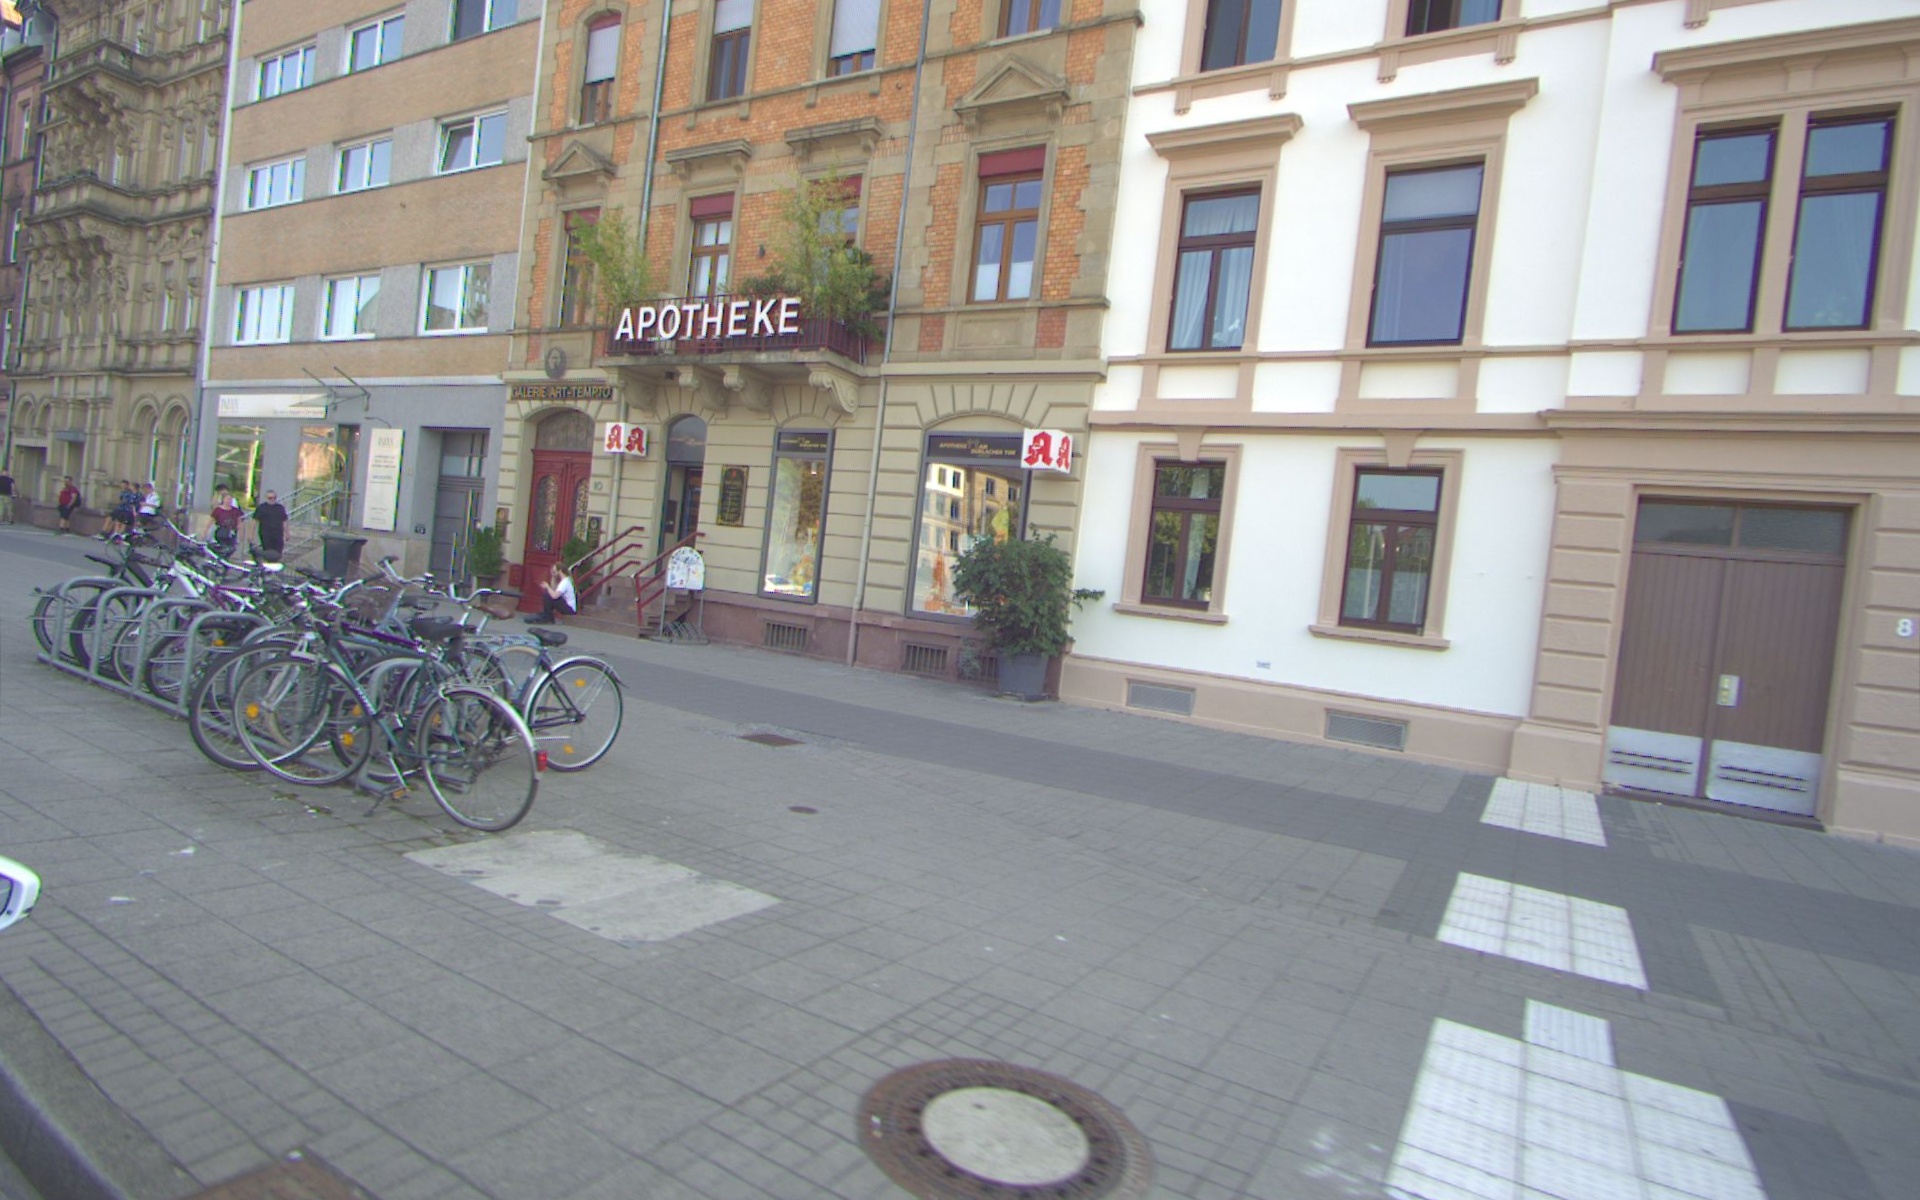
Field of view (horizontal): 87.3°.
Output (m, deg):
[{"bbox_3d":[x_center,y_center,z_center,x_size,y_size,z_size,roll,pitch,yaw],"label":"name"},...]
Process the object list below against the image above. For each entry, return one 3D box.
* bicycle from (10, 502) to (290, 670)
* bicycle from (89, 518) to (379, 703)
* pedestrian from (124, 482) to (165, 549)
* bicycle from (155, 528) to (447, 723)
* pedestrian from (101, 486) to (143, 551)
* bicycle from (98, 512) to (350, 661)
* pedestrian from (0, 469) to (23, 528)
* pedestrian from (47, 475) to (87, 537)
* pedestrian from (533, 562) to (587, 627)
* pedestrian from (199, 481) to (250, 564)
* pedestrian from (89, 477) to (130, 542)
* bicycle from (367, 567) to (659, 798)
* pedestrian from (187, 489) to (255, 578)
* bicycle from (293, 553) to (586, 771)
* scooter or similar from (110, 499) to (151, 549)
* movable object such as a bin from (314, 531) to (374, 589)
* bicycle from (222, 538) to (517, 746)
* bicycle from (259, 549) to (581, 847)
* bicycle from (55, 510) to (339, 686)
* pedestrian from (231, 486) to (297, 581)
[{"bbox_3d":[-6.263,-0.064,7.888,0.378,1.163,1.636,7,1,26],"label":"bicycle"},{"bbox_3d":[-5.135,0.102,7.242,0.378,1.163,1.636,7,1,26],"label":"bicycle"},{"bbox_3d":[-22.423,-2.323,27.673,0.502,1.753,0.604,7,2,27],"label":"pedestrian"},{"bbox_3d":[-4.432,0.191,6.907,0.378,1.163,1.636,7,1,26],"label":"bicycle"},{"bbox_3d":[-23.394,-2.268,28.089,0.577,1.713,0.604,7,2,28],"label":"pedestrian"},{"bbox_3d":[-6.465,-0.079,8.919,0.592,1.163,1.634,7,1,33],"label":"bicycle"},{"bbox_3d":[-29.949,-3.195,31.497,0.679,1.741,0.630,7,2,31],"label":"pedestrian"},{"bbox_3d":[-25.801,-2.723,29.068,0.577,1.676,0.604,7,2,28],"label":"pedestrian"},{"bbox_3d":[-6.728,-0.090,16.919,0.608,0.994,0.629,5,1,-39],"label":"pedestrian"},{"bbox_3d":[-17.659,-1.853,24.144,0.729,1.855,0.604,7,2,28],"label":"pedestrian"},{"bbox_3d":[-23.958,-2.544,28.332,0.577,1.713,0.604,7,2,28],"label":"pedestrian"},{"bbox_3d":[-2.566,0.463,5.980,0.378,1.163,1.636,7,1,26],"label":"bicycle"},{"bbox_3d":[-14.711,-1.317,20.033,0.842,1.631,0.720,7,1,32],"label":"pedestrian"},{"bbox_3d":[-3.162,0.375,6.286,0.378,1.163,1.636,7,1,26],"label":"bicycle"},{"bbox_3d":[-21.804,-1.999,26.438,1.132,1.178,0.360,7,2,28],"label":"scooter or similar"},{"bbox_3d":[-12.898,-0.826,21.080,0.657,1.094,0.739,7,1,14],"label":"movable object such as a bin"},{"bbox_3d":[-3.752,0.278,6.549,0.378,1.163,1.636,7,1,26],"label":"bicycle"},{"bbox_3d":[-2.659,0.420,4.899,1.626,1.163,0.408,7,1,25],"label":"bicycle"},{"bbox_3d":[-5.663,0.022,7.584,0.378,1.163,1.636,7,1,26],"label":"bicycle"},{"bbox_3d":[-14.305,-1.359,20.688,0.842,1.810,0.720,7,1,32],"label":"pedestrian"}]
